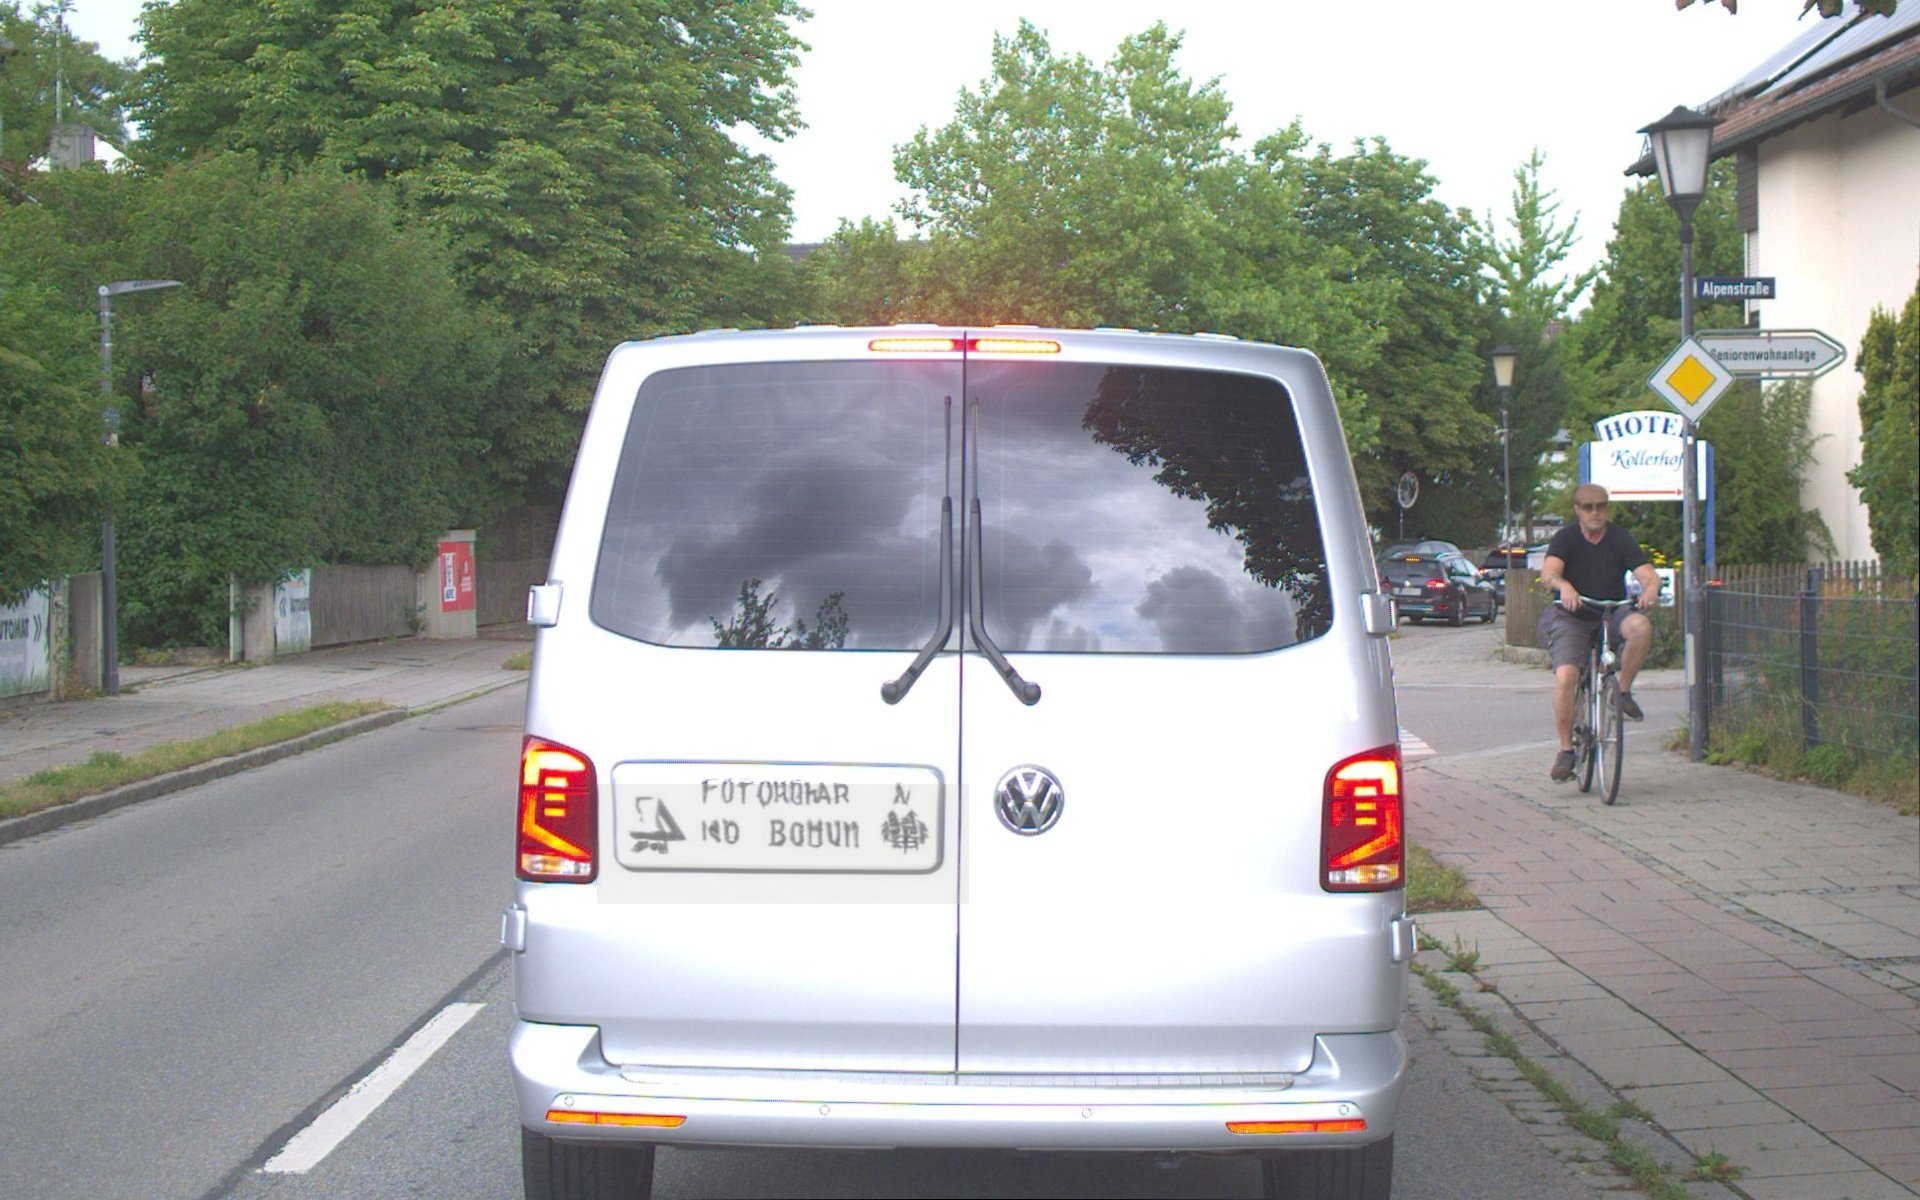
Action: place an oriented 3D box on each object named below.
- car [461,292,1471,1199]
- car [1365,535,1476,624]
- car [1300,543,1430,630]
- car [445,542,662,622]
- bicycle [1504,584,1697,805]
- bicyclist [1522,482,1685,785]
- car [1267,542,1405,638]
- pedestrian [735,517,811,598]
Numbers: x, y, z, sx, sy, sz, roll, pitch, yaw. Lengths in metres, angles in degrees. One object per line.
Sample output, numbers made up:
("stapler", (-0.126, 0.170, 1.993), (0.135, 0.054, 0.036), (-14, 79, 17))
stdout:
("car", (0.031, 0.365, 8.399), (1.881, 1.934, 3.921), (0, 1, 1))
("car", (9.358, -0.428, 69.626), (1.882, 1.742, 4.078), (0, 1, 12))
("car", (7.424, -0.269, 62.772), (1.882, 1.530, 3.918), (0, 1, 14))
("car", (-7.649, -0.350, 64.566), (3.986, 1.481, 2.001), (0, 1, -8))
("bicycle", (3.513, 0.494, 18.998), (0.764, 1.139, 1.845), (0, 1, 1))
("bicyclist", (3.530, 0.175, 18.904), (0.736, 1.627, 0.890), (0, 1, 1))
("car", (6.239, -0.194, 56.746), (1.882, 1.530, 3.919), (0, 1, 12))
("pedestrian", (-4.163, -0.947, 76.459), (1.319, 1.796, 1.069), (-1, 1, -34))
